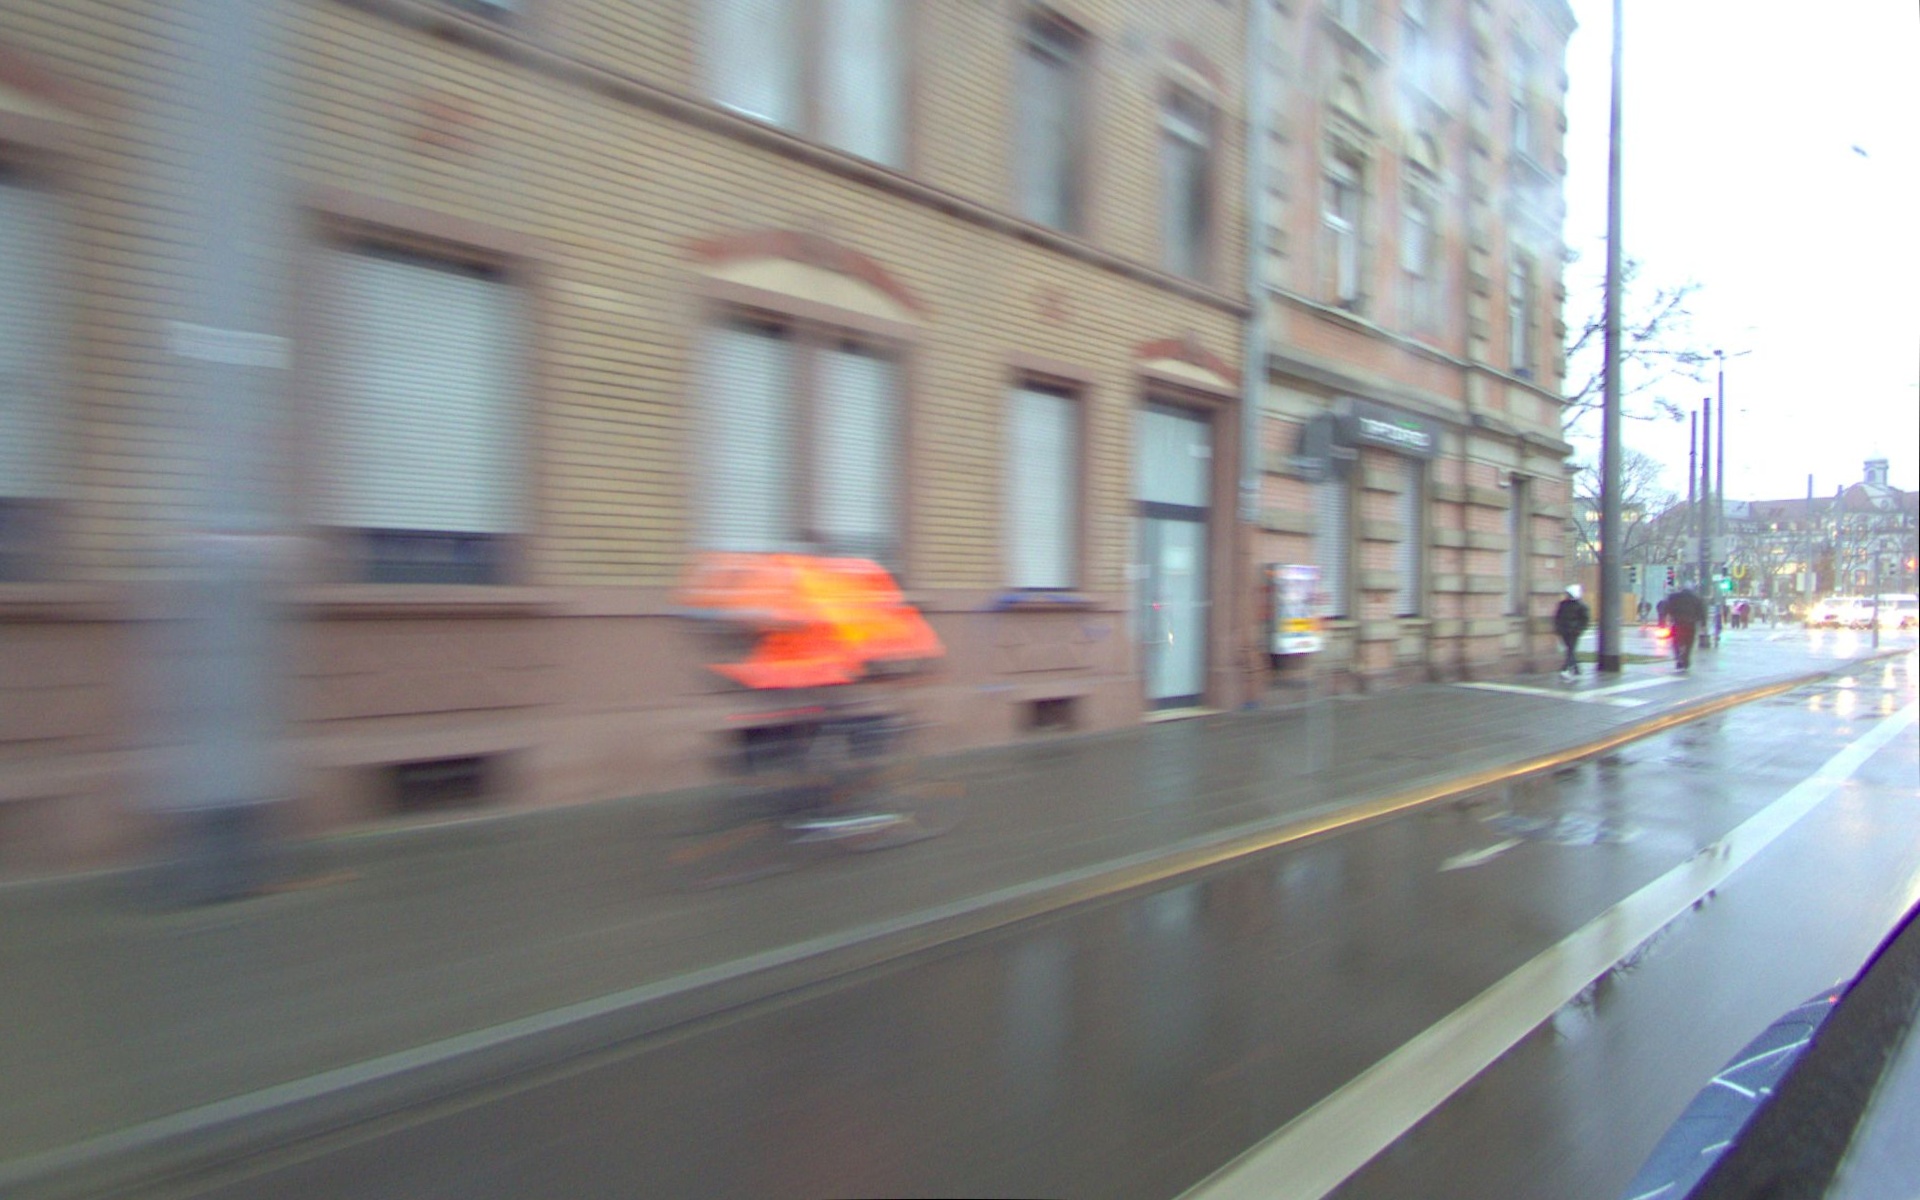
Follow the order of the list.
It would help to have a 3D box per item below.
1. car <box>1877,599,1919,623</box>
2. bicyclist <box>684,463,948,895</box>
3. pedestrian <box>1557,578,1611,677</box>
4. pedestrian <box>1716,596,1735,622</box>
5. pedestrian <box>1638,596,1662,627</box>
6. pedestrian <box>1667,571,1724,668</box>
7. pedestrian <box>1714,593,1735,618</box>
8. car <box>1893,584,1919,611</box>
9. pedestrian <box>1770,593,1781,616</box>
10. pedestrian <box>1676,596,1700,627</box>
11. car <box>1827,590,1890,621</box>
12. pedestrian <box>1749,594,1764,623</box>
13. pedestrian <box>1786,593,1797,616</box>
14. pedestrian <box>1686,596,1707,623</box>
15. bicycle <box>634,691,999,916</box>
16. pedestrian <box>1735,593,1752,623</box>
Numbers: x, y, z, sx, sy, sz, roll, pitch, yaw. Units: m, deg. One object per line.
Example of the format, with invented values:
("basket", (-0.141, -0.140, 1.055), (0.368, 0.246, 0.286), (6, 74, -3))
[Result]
("car", (62.562, 0.725, 67.428), (3.738, 1.527, 1.826), (0, 1, -41))
("bicyclist", (-0.712, 0.337, 5.113), (1.093, 1.903, 0.745), (0, 1, -44))
("pedestrian", (10.123, 0.428, 16.410), (0.631, 1.568, 0.700), (0, 0, 42))
("pedestrian", (48.105, 0.570, 63.624), (0.699, 1.640, 0.745), (0, 0, 15))
("pedestrian", (37.773, 0.606, 55.401), (0.734, 1.697, 0.820), (0, 0, -31))
("pedestrian", (14.382, 0.367, 19.791), (0.698, 1.848, 0.753), (0, 0, -39))
("pedestrian", (50.808, 0.382, 67.273), (0.867, 1.640, 0.745), (0, 0, 15))
("car", (68.227, -0.189, 72.448), (2.011, 1.842, 3.634), (0, 0, 41))
("pedestrian", (62.820, 0.321, 77.938), (0.634, 1.784, 0.504), (0, 0, 36))
("pedestrian", (39.190, 0.595, 54.470), (0.808, 1.640, 0.745), (0, 0, 16))
("car", (55.829, 0.329, 62.842), (4.780, 1.861, 1.999), (0, 0, -36))
("pedestrian", (48.988, 0.518, 62.246), (0.503, 1.784, 0.635), (0, 0, 15))
("pedestrian", (63.608, 0.322, 77.393), (0.634, 1.784, 0.504), (0, 0, 36))
("pedestrian", (46.549, 0.597, 63.940), (0.867, 1.640, 0.745), (0, 0, 15))
("bicycle", (-0.658, 0.940, 5.148), (1.830, 0.770, 0.608), (-1, 1, -44))
("pedestrian", (48.838, 0.478, 63.075), (0.640, 1.845, 0.635), (0, 0, 15))
